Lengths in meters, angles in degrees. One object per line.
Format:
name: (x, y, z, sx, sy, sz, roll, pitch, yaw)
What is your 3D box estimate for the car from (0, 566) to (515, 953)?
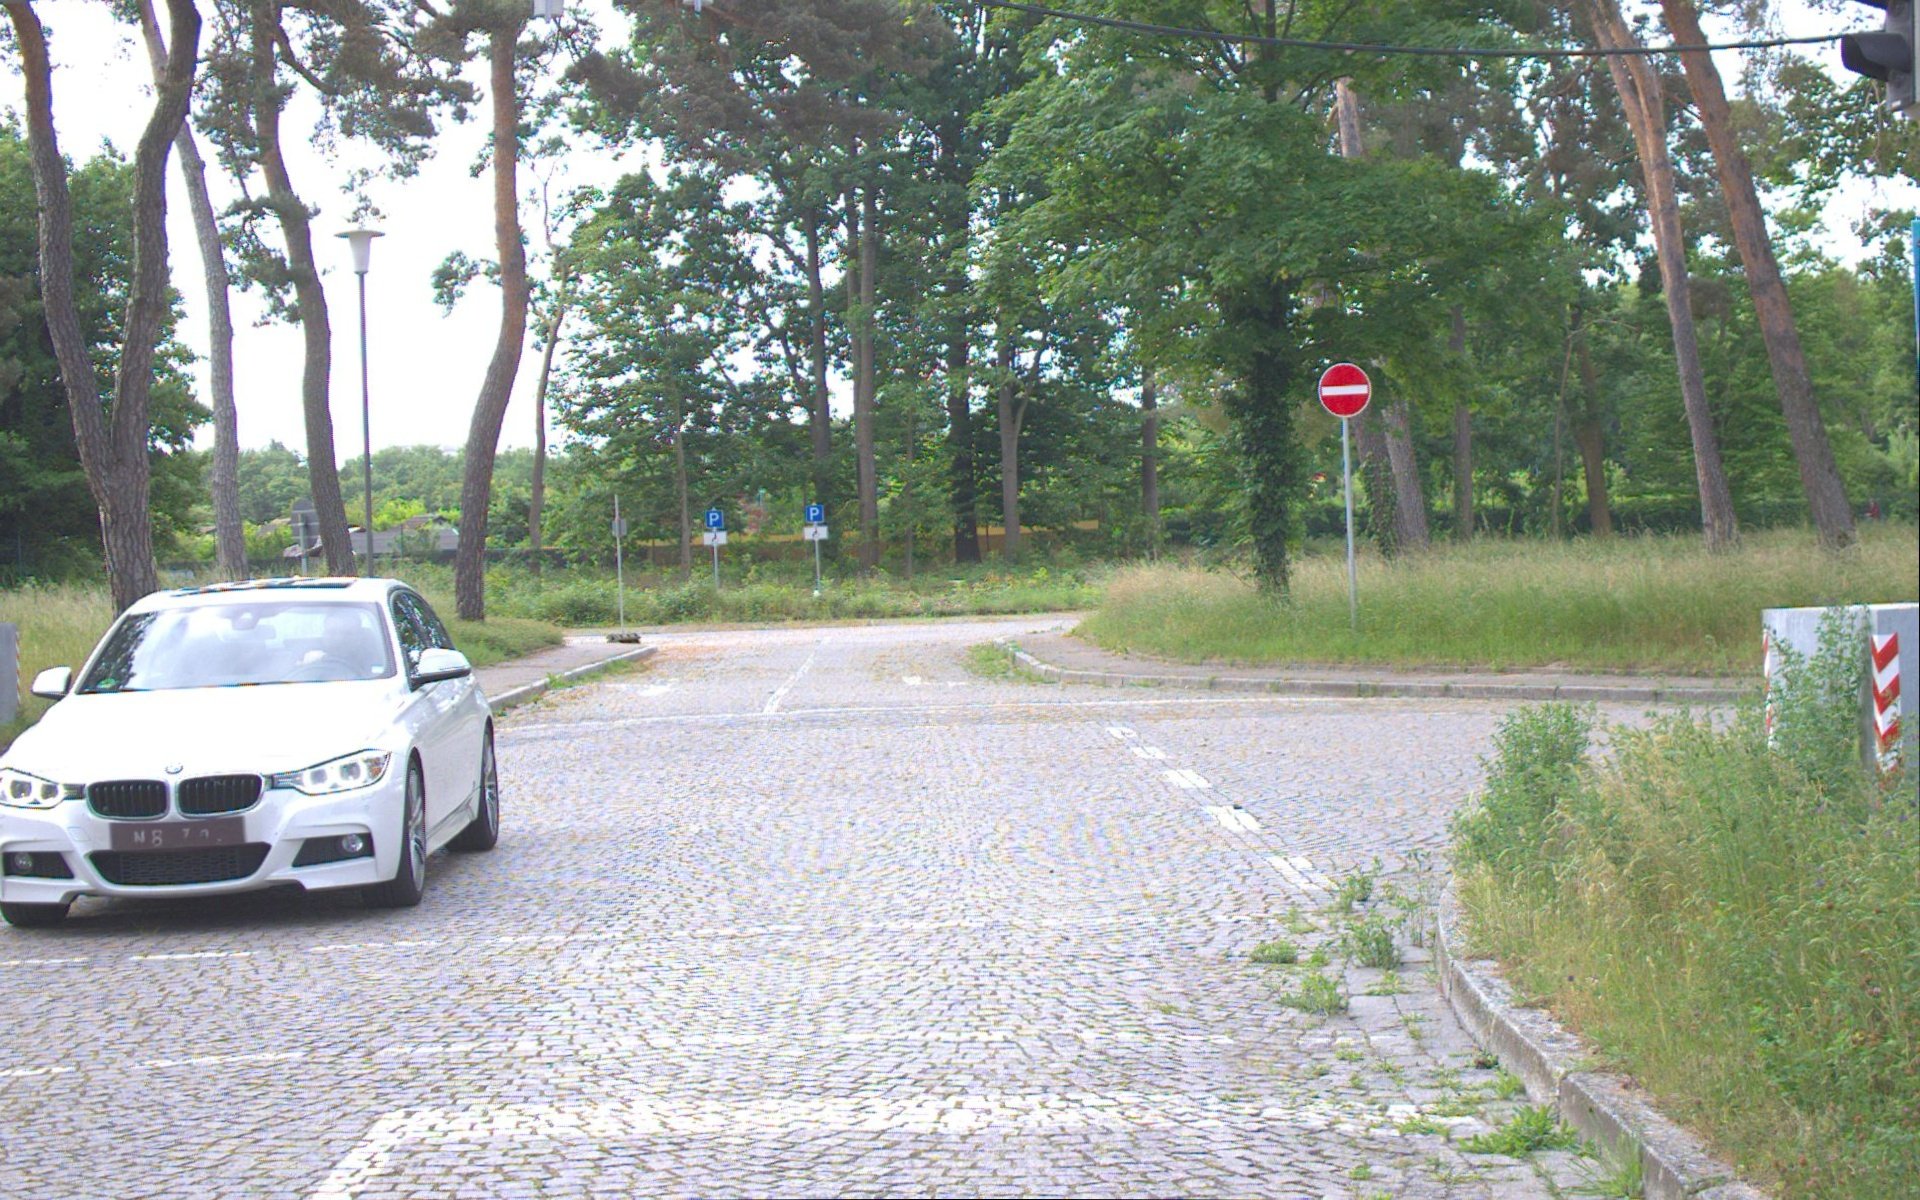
car: (-3.247, 0.630, 16.054, 1.773, 1.433, 4.218, -4, 1, -1)

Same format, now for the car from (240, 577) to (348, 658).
car: (-15.589, 0.388, 80.617, 1.993, 1.840, 4.001, 0, 1, -4)
